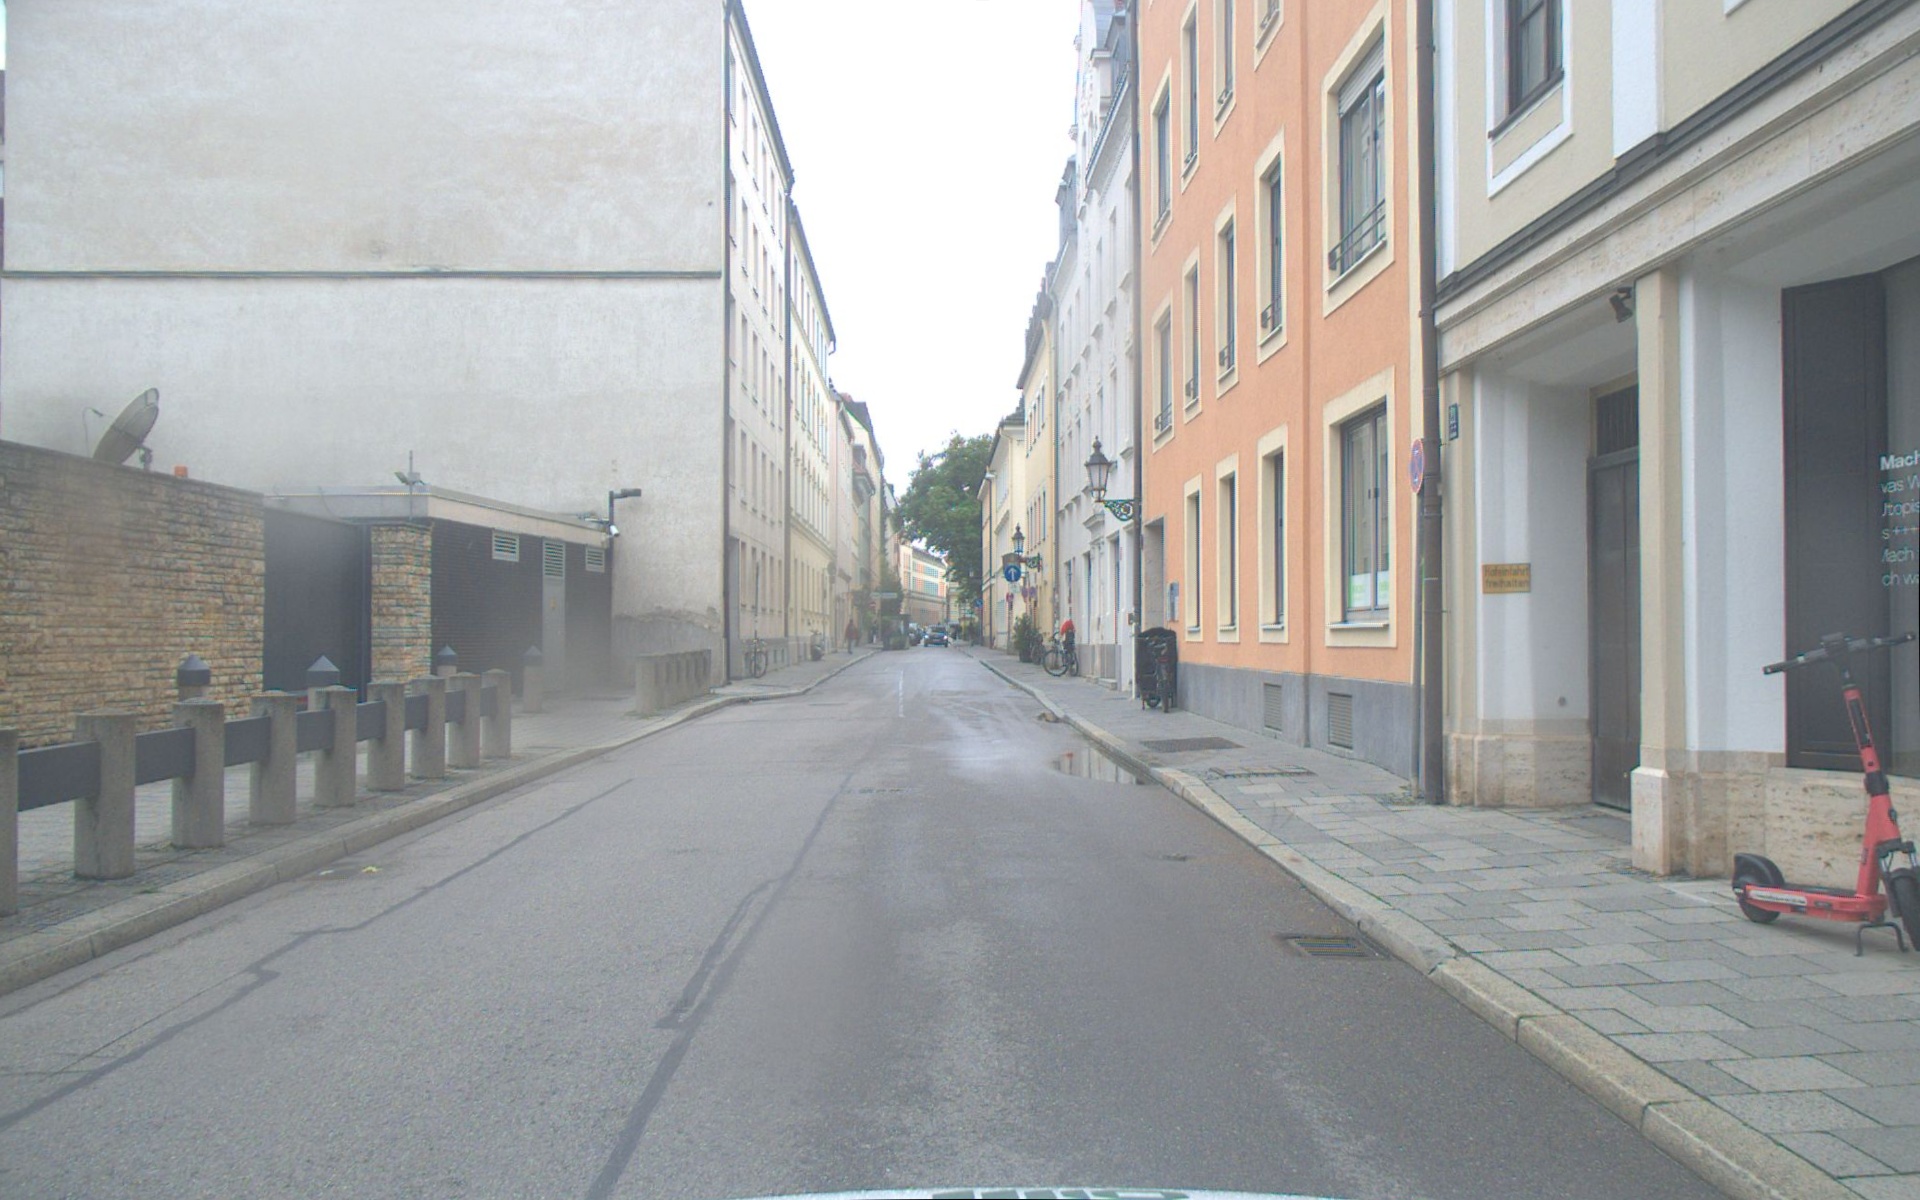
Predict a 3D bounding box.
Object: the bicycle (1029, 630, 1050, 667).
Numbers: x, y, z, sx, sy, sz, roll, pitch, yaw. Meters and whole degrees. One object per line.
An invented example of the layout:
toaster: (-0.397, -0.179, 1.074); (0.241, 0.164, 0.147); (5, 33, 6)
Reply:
bicycle: (2.552, 1.540, 53.128); (0.554, 1.157, 1.987); (-2, -1, 0)

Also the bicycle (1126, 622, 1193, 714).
bicycle: (3.000, 0.996, 25.102); (0.665, 1.261, 2.382); (-4, -1, 1)

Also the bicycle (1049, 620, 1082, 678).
bicycle: (2.676, 1.225, 42.037); (0.698, 1.420, 2.122); (-2, -1, 1)

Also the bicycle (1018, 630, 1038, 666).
bicycle: (2.263, 1.611, 55.328); (0.554, 1.157, 1.684); (-2, -1, 0)

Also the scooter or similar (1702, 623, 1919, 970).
scooter or similar: (3.699, 0.751, 6.796); (0.457, 1.281, 1.272); (-2, 0, -15)

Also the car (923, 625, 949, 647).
car: (-1.794, 2.649, 121.874); (1.776, 1.622, 3.998); (0, -1, -2)

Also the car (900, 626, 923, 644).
car: (-4.246, 3.067, 144.381); (1.742, 1.492, 3.542); (1, -1, 2)

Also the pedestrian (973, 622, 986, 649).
pedestrian: (1.352, 2.488, 115.773); (0.862, 1.834, 1.046); (1, -1, 0)

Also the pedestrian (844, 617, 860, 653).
pedestrian: (-5.337, 1.736, 81.778); (0.750, 1.738, 0.785); (0, -1, -4)

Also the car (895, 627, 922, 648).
car: (-3.855, 2.824, 124.310); (1.742, 1.492, 3.663); (1, -1, 2)

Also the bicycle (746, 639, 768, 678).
bicycle: (-5.249, 1.499, 42.779); (0.313, 0.960, 1.574); (3, -1, 1)

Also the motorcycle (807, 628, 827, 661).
motorcycle: (-5.260, 1.641, 61.004); (0.590, 1.194, 1.708); (1, -1, -1)
